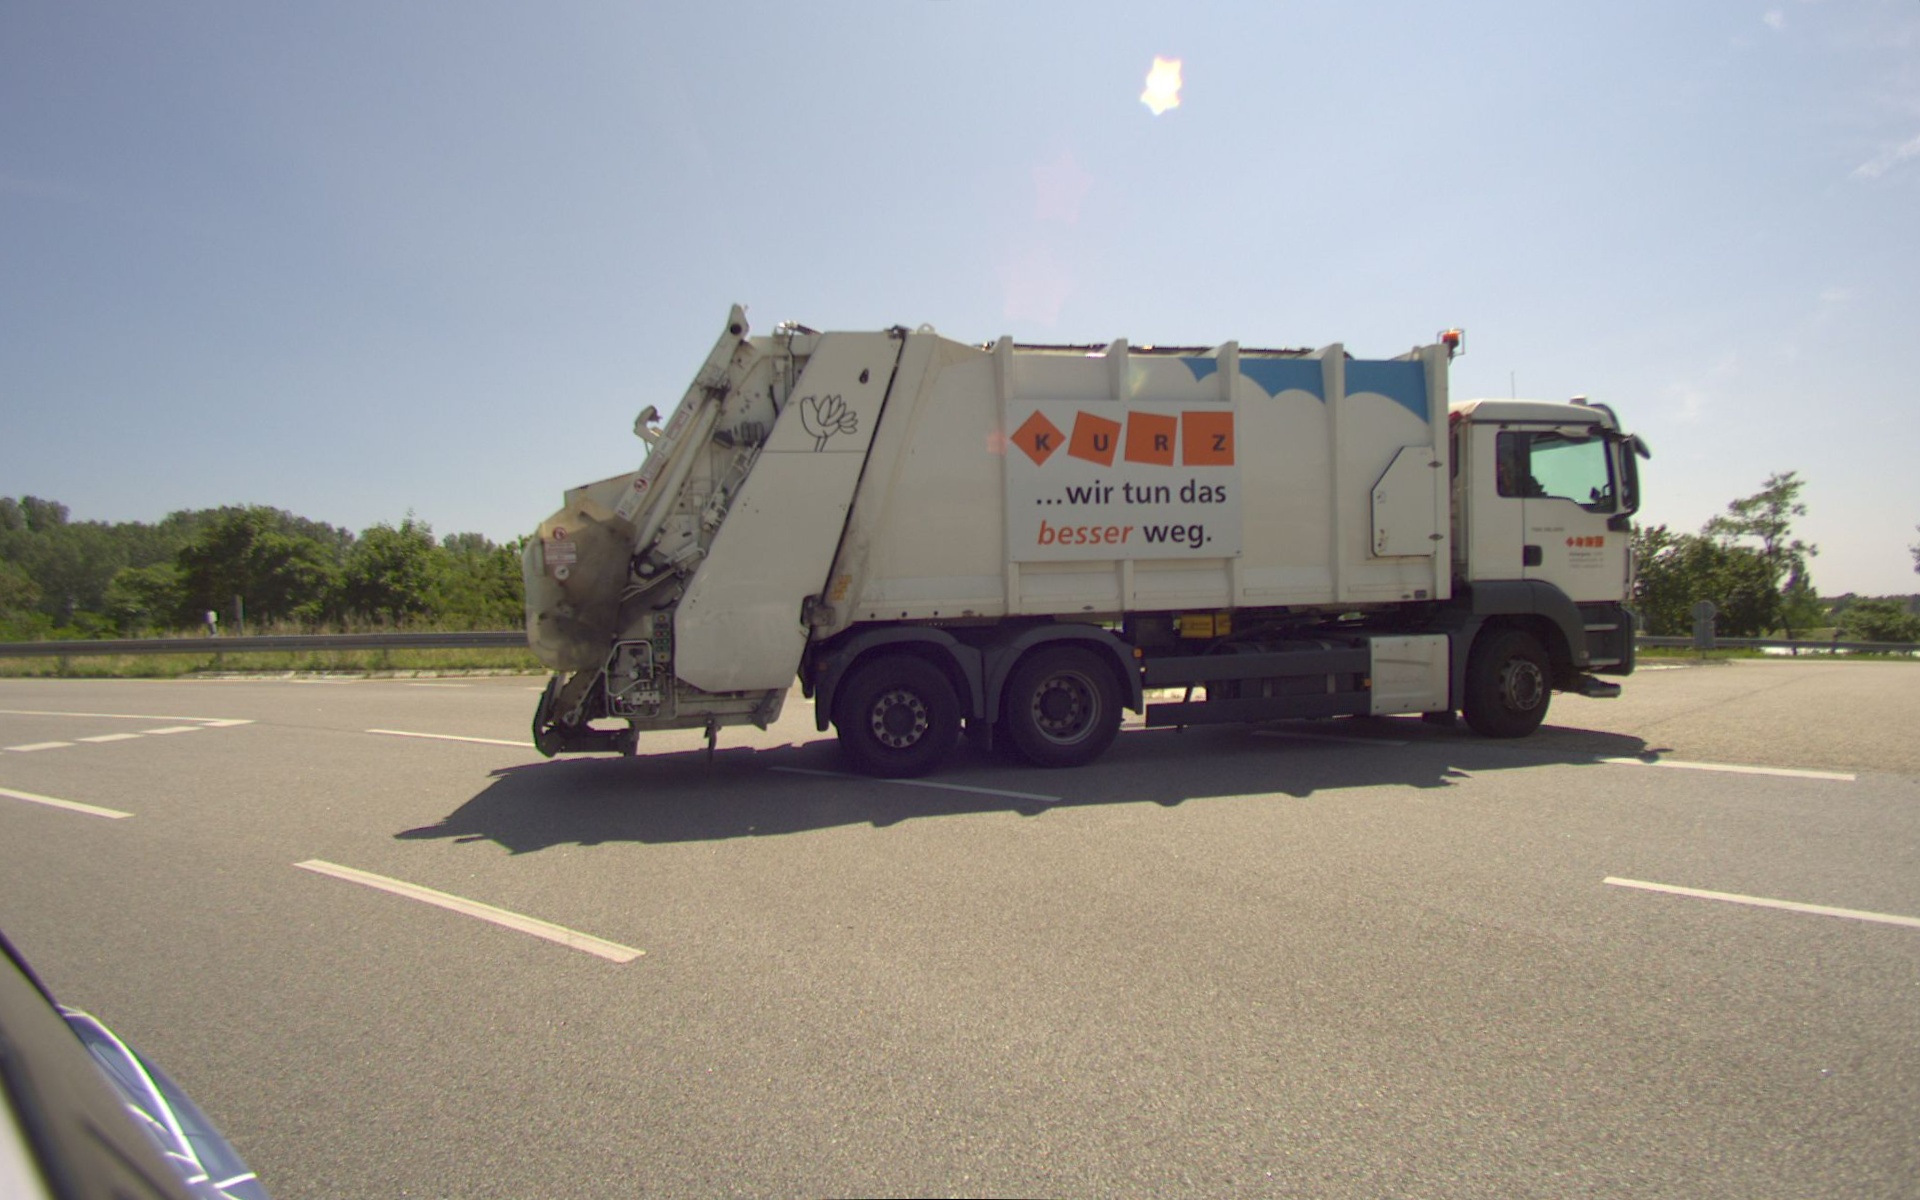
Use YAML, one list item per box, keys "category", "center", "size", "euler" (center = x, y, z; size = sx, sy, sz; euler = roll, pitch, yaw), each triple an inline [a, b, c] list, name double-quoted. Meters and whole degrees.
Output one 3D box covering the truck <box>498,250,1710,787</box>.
- category: "truck"
  center: [1.373, -0.625, 9.254]
  size: [9.785, 3.697, 2.828]
  euler: [-1, -1, -11]
